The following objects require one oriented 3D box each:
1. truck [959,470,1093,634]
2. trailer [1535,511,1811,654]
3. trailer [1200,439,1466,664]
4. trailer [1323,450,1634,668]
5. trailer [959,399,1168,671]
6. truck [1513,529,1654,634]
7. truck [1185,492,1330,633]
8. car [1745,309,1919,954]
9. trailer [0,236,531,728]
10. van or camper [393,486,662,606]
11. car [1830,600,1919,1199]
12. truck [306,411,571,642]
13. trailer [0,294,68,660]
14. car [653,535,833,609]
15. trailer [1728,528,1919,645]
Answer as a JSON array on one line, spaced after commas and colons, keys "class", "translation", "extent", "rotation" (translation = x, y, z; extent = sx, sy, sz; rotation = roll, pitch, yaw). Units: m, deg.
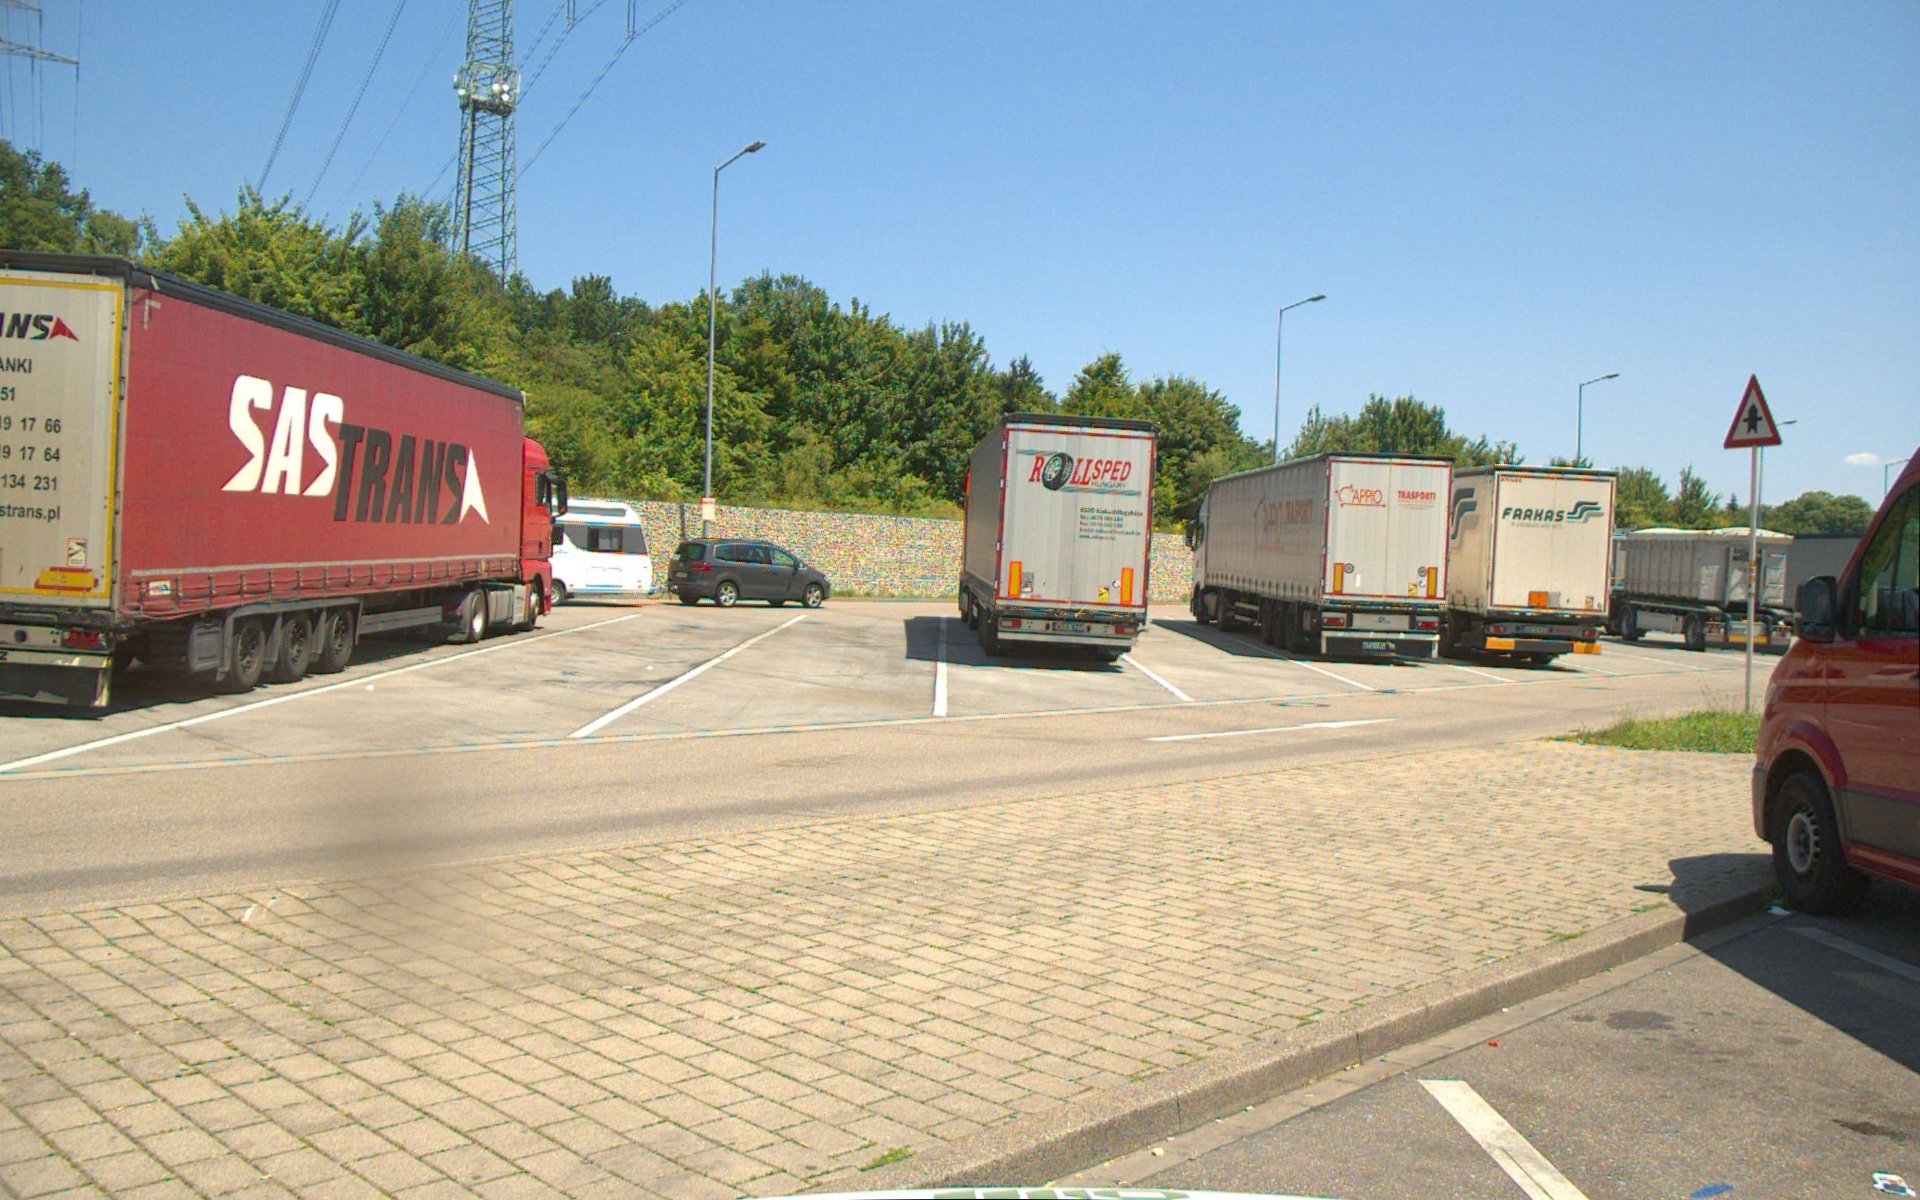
[{"class": "truck", "translation": [1.476, -1.165, 39.828], "extent": [2.794, 3.544, 5.483], "rotation": [3, 2, -1]}, {"class": "trailer", "translation": [21.922, -0.689, 52.187], "extent": [2.780, 3.781, 13.726], "rotation": [3, 2, 1]}, {"class": "trailer", "translation": [8.205, -1.151, 38.808], "extent": [2.781, 4.204, 13.722], "rotation": [3, 2, -1]}, {"class": "trailer", "translation": [11.764, -1.026, 39.613], "extent": [2.781, 4.204, 13.722], "rotation": [3, 2, -1]}, {"class": "trailer", "translation": [1.644, -1.247, 33.219], "extent": [2.848, 4.204, 13.720], "rotation": [3, 2, -1]}, {"class": "truck", "translation": [22.003, -0.724, 58.691], "extent": [2.794, 3.423, 5.484], "rotation": [3, 2, 0]}, {"class": "truck", "translation": [8.091, -1.055, 45.617], "extent": [2.794, 3.544, 5.483], "rotation": [3, 2, -1]}, {"class": "car", "translation": [5.002, 0.171, 5.540], "extent": [2.023, 2.742, 6.397], "rotation": [1, 1, 4]}, {"class": "trailer", "translation": [-8.685, -1.318, 21.167], "extent": [2.848, 4.203, 13.723], "rotation": [3, 2, -1]}, {"class": "van or camper", "translation": [-10.187, -1.234, 39.308], "extent": [5.804, 2.609, 2.235], "rotation": [1, 2, -45]}, {"class": "car", "translation": [2.589, 0.806, 1.137], "extent": [1.703, 1.508, 3.813], "rotation": [1, 1, -6]}, {"class": "truck", "translation": [-8.799, -1.232, 28.603], "extent": [2.794, 3.487, 5.483], "rotation": [3, 2, -1]}, {"class": "trailer", "translation": [-12.531, -1.330, 15.684], "extent": [2.673, 4.282, 10.170], "rotation": [2, 2, -1]}, {"class": "car", "translation": [-5.689, -0.714, 43.750], "extent": [4.474, 1.737, 1.760], "rotation": [1, 3, -43]}, {"class": "trailer", "translation": [34.935, -0.642, 65.390], "extent": [2.780, 4.119, 13.726], "rotation": [3, 2, 1]}]
